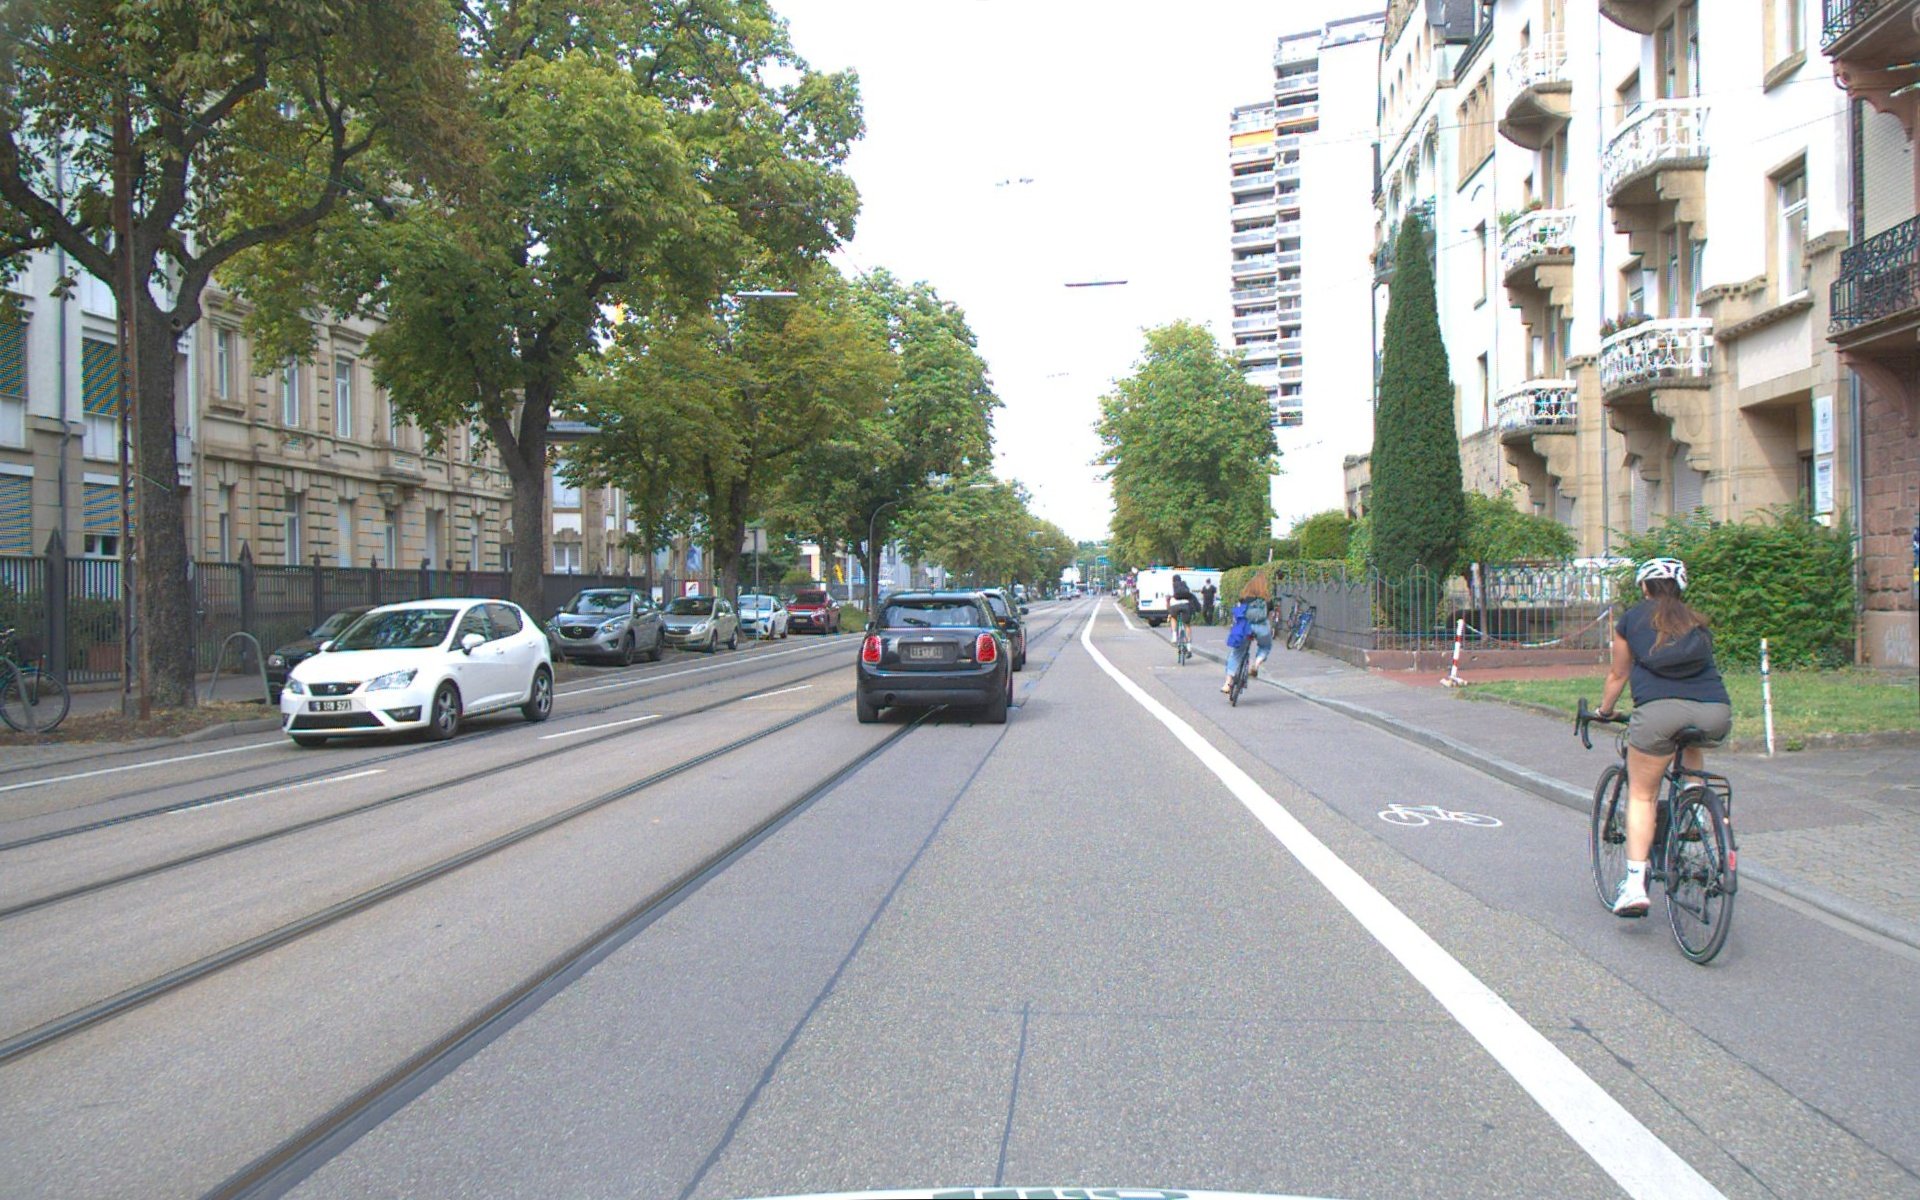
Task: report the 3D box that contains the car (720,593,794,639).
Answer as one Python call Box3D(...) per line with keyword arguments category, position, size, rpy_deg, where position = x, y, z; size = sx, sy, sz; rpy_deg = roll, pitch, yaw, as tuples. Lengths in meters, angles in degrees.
Box3D(category="car", position=(-6.765, 0.512, 55.520), size=(1.685, 1.448, 4.025), rpy_deg=(1, 0, 4))

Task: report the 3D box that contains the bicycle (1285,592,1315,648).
Box3D(category="bicycle", position=(7.099, 0.397, 34.577), size=(0.383, 1.122, 1.760), rpy_deg=(-2, 0, 5))

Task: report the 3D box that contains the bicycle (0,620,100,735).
Box3D(category="bicycle", position=(-10.435, 0.821, 17.668), size=(2.203, 1.195, 0.828), rpy_deg=(0, 0, -28))

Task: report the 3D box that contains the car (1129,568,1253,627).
Box3D(category="car", position=(9.537, -0.098, 68.016), size=(4.908, 2.330, 2.352), rpy_deg=(0, 0, -38))

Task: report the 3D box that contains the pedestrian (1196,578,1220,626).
Box3D(category="pedestrian", position=(9.384, 0.072, 62.638), size=(0.768, 1.763, 0.896), rpy_deg=(-3, 0, 4))

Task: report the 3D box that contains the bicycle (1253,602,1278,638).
Box3D(category="bicycle", position=(7.988, 0.521, 43.281), size=(0.475, 0.923, 1.666), rpy_deg=(-2, -1, 5))

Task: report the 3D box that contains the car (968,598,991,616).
Box3D(category="car", position=(1.798, 0.629, 149.547), size=(1.764, 1.611, 4.033), rpy_deg=(-2, 0, 4))

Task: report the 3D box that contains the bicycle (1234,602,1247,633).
Box3D(category="bicycle", position=(8.708, 0.533, 51.383), size=(0.378, 0.923, 1.666), rpy_deg=(-2, -1, 9))

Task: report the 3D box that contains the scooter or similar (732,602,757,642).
Box3D(category="scooter or similar", position=(-6.857, 0.692, 52.648), size=(0.552, 1.244, 1.316), rpy_deg=(0, 0, -18))

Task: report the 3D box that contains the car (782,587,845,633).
Box3D(category="car", position=(-5.636, 0.383, 64.192), size=(1.685, 1.684, 4.544), rpy_deg=(1, 0, 4))

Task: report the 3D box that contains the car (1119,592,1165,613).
Box3D(category="car", position=(14.252, 0.210, 129.693), size=(3.406, 1.600, 1.542), rpy_deg=(0, 0, -34))

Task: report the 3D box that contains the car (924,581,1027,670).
Box3D(category="car", position=(0.335, 0.431, 30.527), size=(1.756, 1.496, 4.001), rpy_deg=(1, 0, 2))

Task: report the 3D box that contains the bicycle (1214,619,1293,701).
Box3D(category="bicycle", position=(3.900, 0.774, 21.836), size=(0.674, 0.979, 2.037), rpy_deg=(-1, 0, 20))

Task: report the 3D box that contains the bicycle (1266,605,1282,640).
Box3D(category="bicycle", position=(7.868, 0.555, 41.472), size=(0.272, 0.867, 1.198), rpy_deg=(-2, -1, 5))

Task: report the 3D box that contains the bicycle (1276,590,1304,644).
Box3D(category="bicycle", position=(7.433, 0.367, 37.275), size=(0.383, 1.162, 1.922), rpy_deg=(-2, 0, 5))

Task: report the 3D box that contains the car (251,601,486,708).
Box3D(category="car", position=(-8.954, 0.762, 25.436), size=(1.683, 1.449, 4.169), rpy_deg=(2, 0, 7))

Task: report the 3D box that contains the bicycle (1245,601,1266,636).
Box3D(category="bicycle", position=(8.047, 0.510, 45.069), size=(0.475, 0.923, 1.666), rpy_deg=(-2, -1, 8))

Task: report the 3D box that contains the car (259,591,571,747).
Box3D(category="car", position=(-5.785, 0.665, 18.086), size=(1.537, 1.440, 4.003), rpy_deg=(-3, 0, 8))

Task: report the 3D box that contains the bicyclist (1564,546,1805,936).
Box3D(category="bicyclist", position=(3.185, 0.577, 7.360), size=(0.625, 1.597, 1.111), rpy_deg=(0, 0, 3))

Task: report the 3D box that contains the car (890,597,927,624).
Box3D(category="car", position=(-2.898, 0.588, 93.980), size=(1.657, 1.452, 3.870), rpy_deg=(0, 0, 4))

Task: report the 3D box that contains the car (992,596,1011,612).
Box3D(category="car", position=(4.482, 0.426, 179.167), size=(1.764, 1.611, 4.033), rpy_deg=(-2, 0, 4))

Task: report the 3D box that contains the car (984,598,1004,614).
Box3D(category="car", position=(3.476, 0.585, 169.092), size=(1.764, 1.611, 4.033), rpy_deg=(-2, 0, 4))

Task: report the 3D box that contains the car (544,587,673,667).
Box3D(category="car", position=(-7.864, 0.570, 37.426), size=(1.674, 1.703, 4.359), rpy_deg=(0, 0, 5))

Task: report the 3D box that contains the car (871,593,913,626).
Box3D(category="car", position=(-3.526, 0.502, 86.695), size=(1.719, 1.676, 4.054), rpy_deg=(0, 0, 4))

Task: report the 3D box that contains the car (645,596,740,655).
Box3D(category="car", position=(-7.142, 0.655, 44.480), size=(1.567, 1.494, 4.081), rpy_deg=(0, 0, 5))

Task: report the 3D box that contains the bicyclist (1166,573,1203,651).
Box3D(category="bicyclist", position=(4.354, 0.221, 32.130), size=(0.643, 1.489, 1.179), rpy_deg=(0, 0, 4))

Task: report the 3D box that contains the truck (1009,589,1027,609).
Box3D(category="truck", position=(7.495, -0.118, 212.601), size=(2.027, 2.513, 4.901), rpy_deg=(-2, 0, 4))

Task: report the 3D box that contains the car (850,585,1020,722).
Box3D(category="car", position=(-0.197, 0.565, 19.541), size=(1.756, 1.448, 4.001), rpy_deg=(0, 0, 3))

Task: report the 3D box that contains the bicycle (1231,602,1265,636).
Box3D(category="bicycle", position=(8.172, 0.550, 46.979), size=(0.476, 0.923, 1.663), rpy_deg=(-2, -1, -6))

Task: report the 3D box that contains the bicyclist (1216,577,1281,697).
Box3D(category="bicyclist", position=(3.759, 0.474, 21.516), size=(0.634, 1.495, 0.801), rpy_deg=(-3, 0, 20))

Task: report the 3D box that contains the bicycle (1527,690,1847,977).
Box3D(category="bicycle", position=(3.188, 0.966, 7.484), size=(0.625, 0.998, 2.072), rpy_deg=(0, 0, 3))

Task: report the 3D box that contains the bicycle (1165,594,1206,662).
Box3D(category="bicycle", position=(4.357, 0.522, 32.083), size=(0.643, 1.271, 2.126), rpy_deg=(0, 0, 4))

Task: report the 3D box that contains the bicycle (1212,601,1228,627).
Box3D(category="bicycle", position=(9.376, 0.499, 59.620), size=(0.378, 0.923, 1.842), rpy_deg=(-2, -1, 3))
